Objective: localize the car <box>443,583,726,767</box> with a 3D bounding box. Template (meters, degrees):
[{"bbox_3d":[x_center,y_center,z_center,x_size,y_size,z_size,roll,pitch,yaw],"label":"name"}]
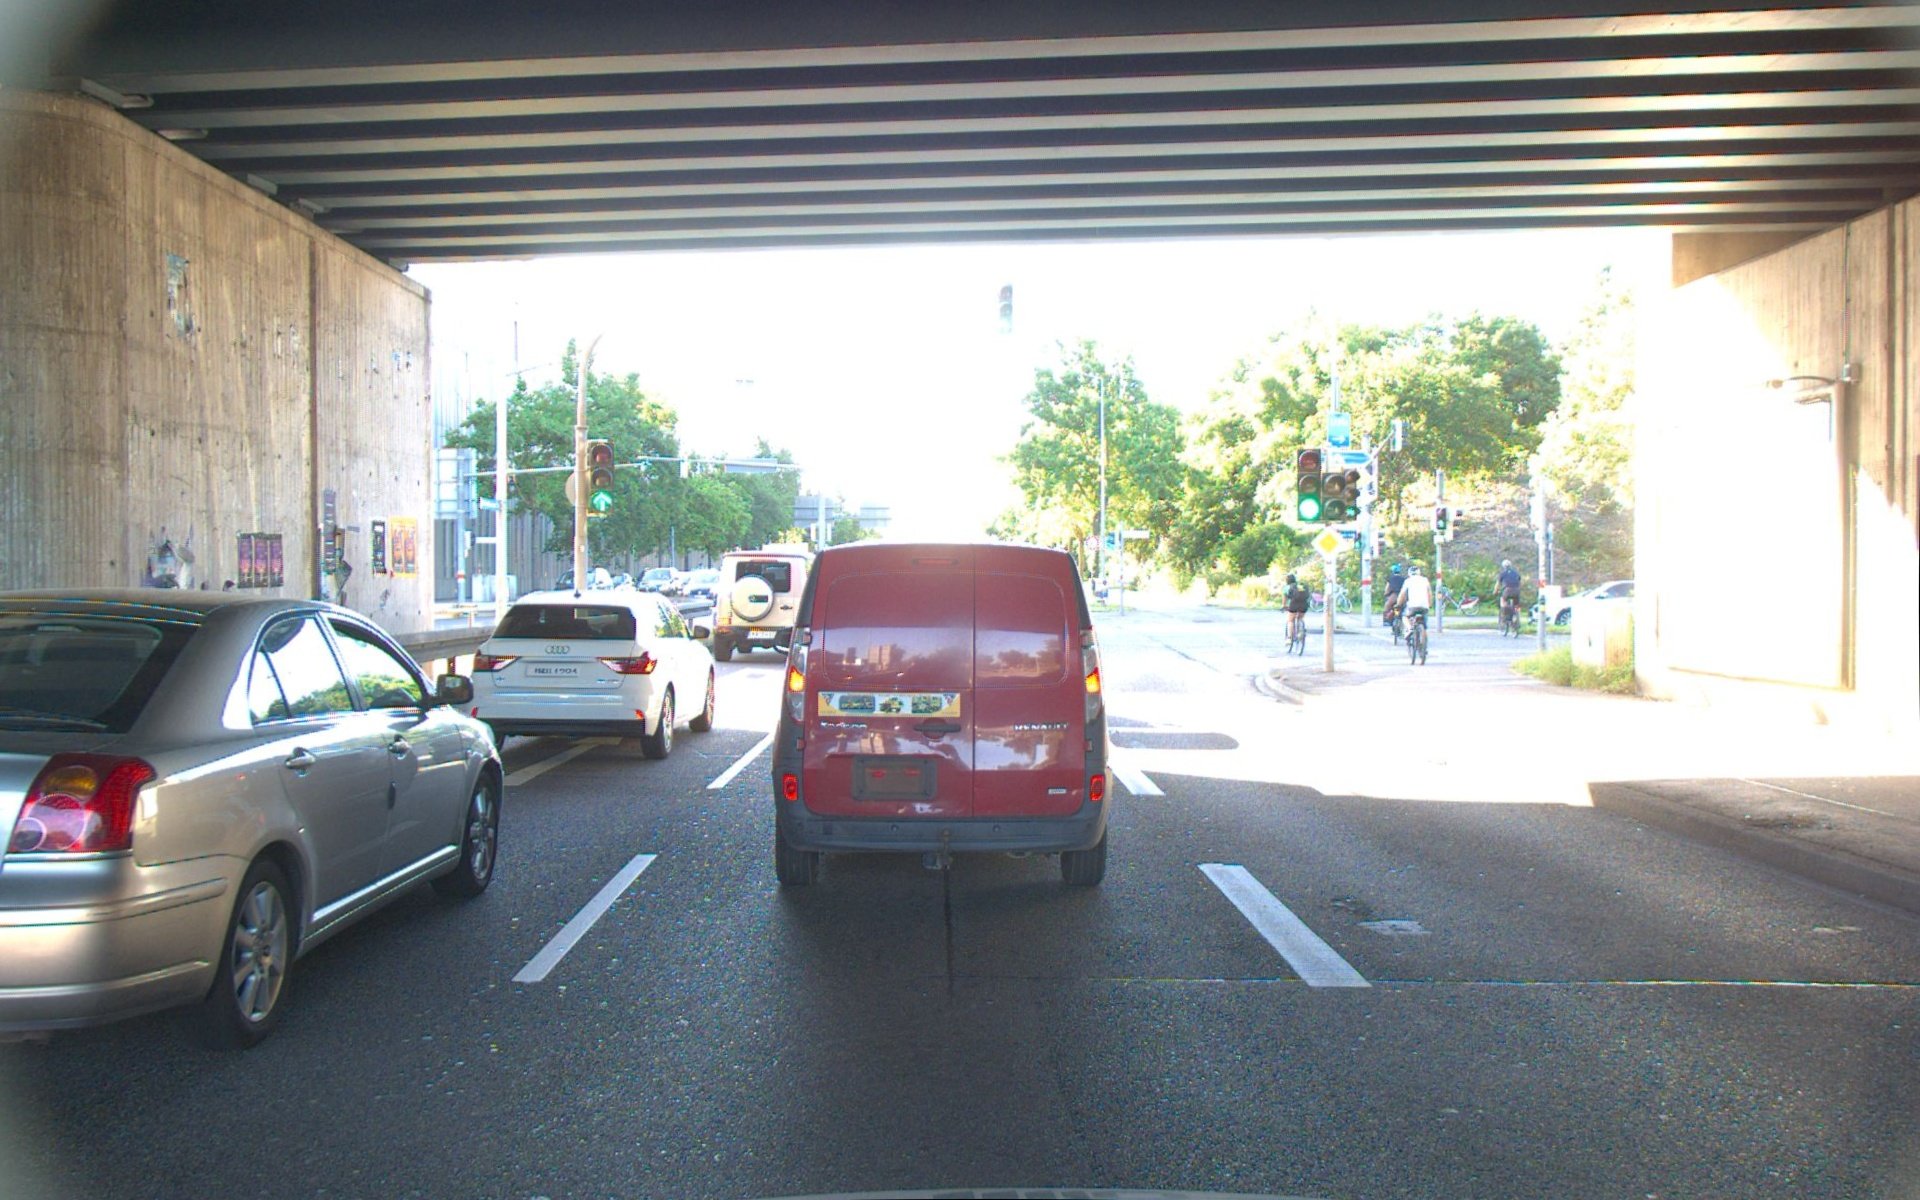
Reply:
[{"bbox_3d":[-3.328,0.594,15.364,1.776,1.463,3.731,1,1,0],"label":"car"}]

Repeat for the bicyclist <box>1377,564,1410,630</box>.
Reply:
[{"bbox_3d":[9.964,-0.067,38.067,0.650,1.500,0.751,1,-1,9],"label":"bicyclist"}]

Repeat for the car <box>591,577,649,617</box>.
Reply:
[{"bbox_3d":[-16.039,-0.147,78.188,1.787,1.768,4.529,-2,1,-1],"label":"car"}]

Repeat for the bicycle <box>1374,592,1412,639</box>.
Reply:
[{"bbox_3d":[9.986,0.363,38.181,0.657,1.041,2.057,1,-1,10],"label":"bicycle"}]

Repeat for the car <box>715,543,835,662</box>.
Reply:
[{"bbox_3d":[-3.391,0.063,30.989,1.764,2.023,4.588,1,-1,-1],"label":"car"}]

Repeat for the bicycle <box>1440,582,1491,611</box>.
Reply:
[{"bbox_3d":[18.332,-0.125,60.009,1.707,1.041,0.594,1,-1,10],"label":"bicycle"}]

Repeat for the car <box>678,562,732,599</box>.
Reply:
[{"bbox_3d":[-10.725,-0.820,69.823,1.602,1.468,4.077,-2,1,0],"label":"car"}]

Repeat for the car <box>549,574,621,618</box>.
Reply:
[{"bbox_3d":[-15.962,-0.199,70.613,1.787,1.768,4.630,-2,1,2],"label":"car"}]

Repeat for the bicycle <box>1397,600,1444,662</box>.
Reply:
[{"bbox_3d":[8.004,0.530,28.798,0.579,1.041,1.752,1,-1,9],"label":"bicycle"}]

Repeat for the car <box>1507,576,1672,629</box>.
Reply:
[{"bbox_3d":[19.469,0.088,51.320,4.451,1.540,1.829,1,-1,6],"label":"car"}]

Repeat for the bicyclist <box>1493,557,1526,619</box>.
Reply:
[{"bbox_3d":[13.573,-0.298,40.860,0.635,1.506,0.618,0,1,4],"label":"bicyclist"}]

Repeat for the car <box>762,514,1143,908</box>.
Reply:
[{"bbox_3d":[-0.063,0.540,9.795,1.768,1.826,3.999,1,-1,-1],"label":"car"}]

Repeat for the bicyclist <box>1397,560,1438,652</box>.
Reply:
[{"bbox_3d":[8.001,0.103,28.934,0.579,1.575,0.770,1,-1,9],"label":"bicyclist"}]

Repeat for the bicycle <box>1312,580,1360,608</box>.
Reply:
[{"bbox_3d":[14.171,-0.217,62.303,1.707,1.041,0.594,1,-1,8],"label":"bicycle"}]

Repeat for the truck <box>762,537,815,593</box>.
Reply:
[{"bbox_3d":[-10.089,-2.029,97.911,2.360,3.079,6.656,-2,1,0],"label":"truck"}]

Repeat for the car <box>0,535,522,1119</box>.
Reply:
[{"bbox_3d":[-3.045,0.584,6.401,1.698,1.506,4.317,0,0,-2],"label":"car"}]

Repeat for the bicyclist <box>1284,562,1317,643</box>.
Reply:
[{"bbox_3d":[6.998,0.056,34.020,0.579,1.642,0.943,1,-1,9],"label":"bicyclist"}]

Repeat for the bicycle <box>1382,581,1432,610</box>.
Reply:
[{"bbox_3d":[16.503,-0.163,61.133,1.707,1.041,0.594,1,-1,8],"label":"bicycle"}]

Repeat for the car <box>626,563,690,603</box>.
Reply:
[{"bbox_3d":[-13.264,-0.752,72.782,1.787,1.653,4.530,-2,1,2],"label":"car"}]

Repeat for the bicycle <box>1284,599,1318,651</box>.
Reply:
[{"bbox_3d":[7.006,0.514,34.019,0.579,1.041,1.752,1,-1,9],"label":"bicycle"}]

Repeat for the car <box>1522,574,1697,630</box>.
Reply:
[{"bbox_3d":[19.069,0.059,48.691,4.451,1.540,1.829,1,-1,6],"label":"car"}]

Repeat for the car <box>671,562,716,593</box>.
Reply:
[{"bbox_3d":[-12.997,-1.104,80.819,1.613,1.429,3.977,-2,1,-2],"label":"car"}]

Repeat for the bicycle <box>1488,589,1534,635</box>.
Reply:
[{"bbox_3d":[13.570,0.277,40.804,0.653,1.041,1.752,0,3,4],"label":"bicycle"}]
